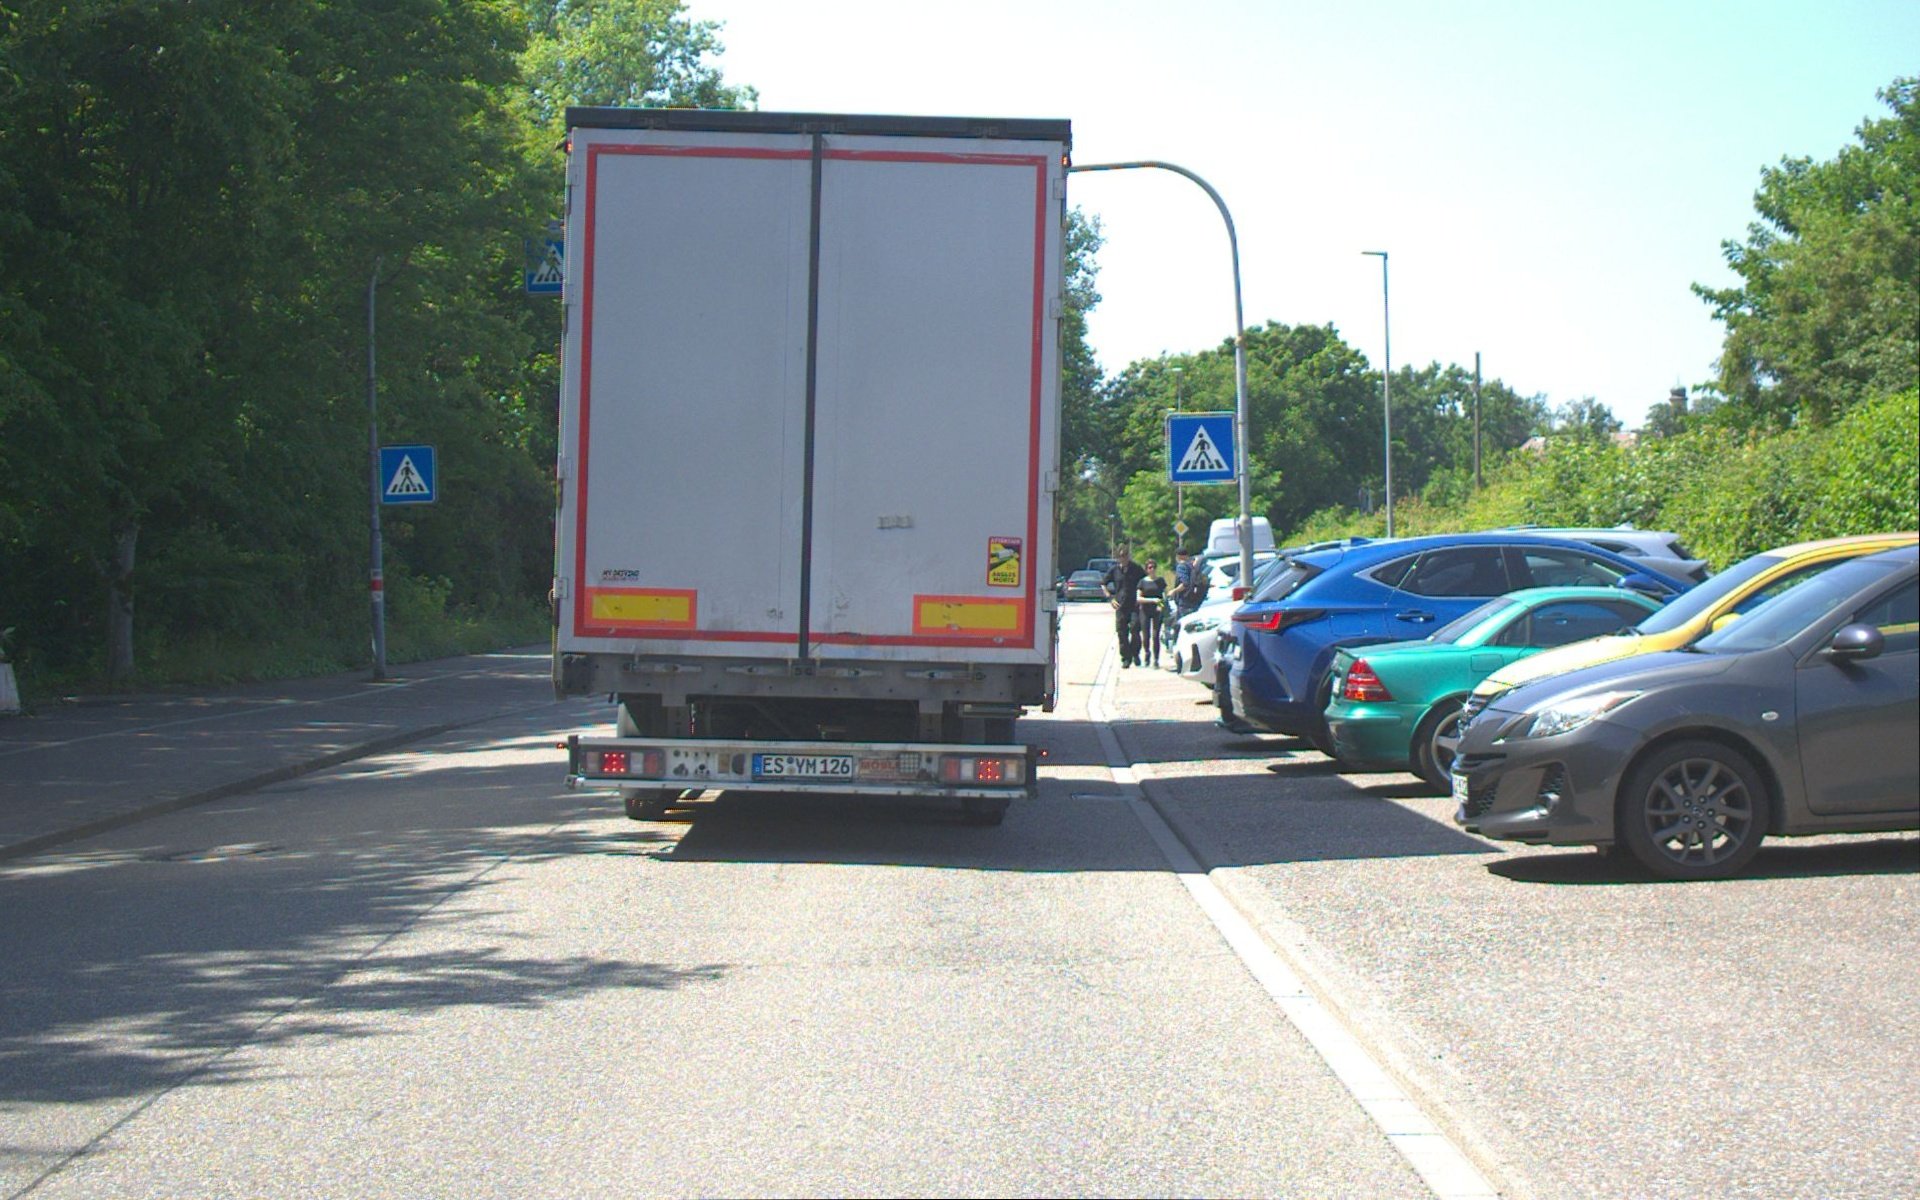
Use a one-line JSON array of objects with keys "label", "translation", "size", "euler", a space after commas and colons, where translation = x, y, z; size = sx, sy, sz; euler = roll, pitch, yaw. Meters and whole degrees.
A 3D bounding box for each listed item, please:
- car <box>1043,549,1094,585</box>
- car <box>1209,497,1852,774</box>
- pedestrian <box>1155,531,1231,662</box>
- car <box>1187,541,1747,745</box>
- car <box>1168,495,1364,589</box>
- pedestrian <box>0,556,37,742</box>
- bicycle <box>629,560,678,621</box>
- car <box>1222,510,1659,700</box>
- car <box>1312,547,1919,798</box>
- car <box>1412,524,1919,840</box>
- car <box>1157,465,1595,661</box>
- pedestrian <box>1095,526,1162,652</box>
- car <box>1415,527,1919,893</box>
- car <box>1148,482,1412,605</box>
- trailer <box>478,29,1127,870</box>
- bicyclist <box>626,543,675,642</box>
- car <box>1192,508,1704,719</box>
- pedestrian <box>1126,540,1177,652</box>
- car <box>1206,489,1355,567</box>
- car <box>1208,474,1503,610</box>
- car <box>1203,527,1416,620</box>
[{"label": "car", "translation": [4.798, -1.460, 151.460], "size": [1.781, 1.481, 3.999], "euler": [-1, 2, 8]}, {"label": "car", "translation": [4.041, 0.225, 24.846], "size": [4.238, 1.628, 1.823], "euler": [-4, 1, 0]}, {"label": "pedestrian", "translation": [3.349, -0.062, 49.431], "size": [0.908, 1.792, 0.935], "euler": [-5, 1, 6]}, {"label": "car", "translation": [4.050, 0.320, 27.854], "size": [4.129, 1.434, 1.815], "euler": [-2, 1, -6]}, {"label": "car", "translation": [6.658, -1.269, 75.064], "size": [3.956, 1.759, 1.814], "euler": [-4, 1, -2]}, {"label": "pedestrian", "translation": [-8.674, 0.425, 30.368], "size": [0.828, 1.617, 0.783], "euler": [0, 1, -1]}, {"label": "bicycle", "translation": [-5.535, -0.182, 62.172], "size": [0.454, 1.043, 2.203], "euler": [-1, 1, 5]}, {"label": "car", "translation": [4.829, 0.029, 34.979], "size": [4.125, 1.651, 1.887], "euler": [-3, 1, 1]}, {"label": "car", "translation": [4.236, 0.439, 22.087], "size": [3.735, 1.264, 1.628], "euler": [-5, 1, 2]}, {"label": "car", "translation": [4.573, 0.379, 19.000], "size": [3.801, 1.450, 1.774], "euler": [-5, 1, 0]}, {"label": "car", "translation": [4.493, -0.411, 37.596], "size": [4.404, 1.692, 1.877], "euler": [-5, 1, -1]}, {"label": "pedestrian", "translation": [2.564, -0.173, 52.172], "size": [0.822, 1.828, 0.792], "euler": [-5, 1, 6]}, {"label": "car", "translation": [4.349, 0.420, 15.912], "size": [4.163, 1.490, 1.883], "euler": [-3, 1, 0]}, {"label": "car", "translation": [5.240, -0.949, 56.552], "size": [3.956, 1.662, 1.814], "euler": [-5, 4, -4]}, {"label": "trailer", "translation": [-0.716, -0.848, 22.831], "size": [3.113, 4.088, 11.537], "euler": [-2, 1, 1]}, {"label": "bicyclist", "translation": [-5.560, -0.132, 61.841], "size": [0.717, 1.752, 0.796], "euler": [-1, 1, 5]}, {"label": "car", "translation": [4.314, 0.119, 30.896], "size": [4.235, 1.648, 1.900], "euler": [-3, 0, -1]}, {"label": "pedestrian", "translation": [2.869, -0.070, 51.413], "size": [0.589, 1.609, 0.744], "euler": [-5, 1, 6]}, {"label": "car", "translation": [8.901, -1.988, 95.692], "size": [3.957, 1.792, 1.813], "euler": [-5, -1, 4]}, {"label": "car", "translation": [5.815, -0.851, 50.852], "size": [3.956, 1.662, 1.814], "euler": [-5, 1, -4]}, {"label": "car", "translation": [6.994, -0.540, 69.090], "size": [3.956, 1.613, 1.814], "euler": [-3, 1, -2]}]
